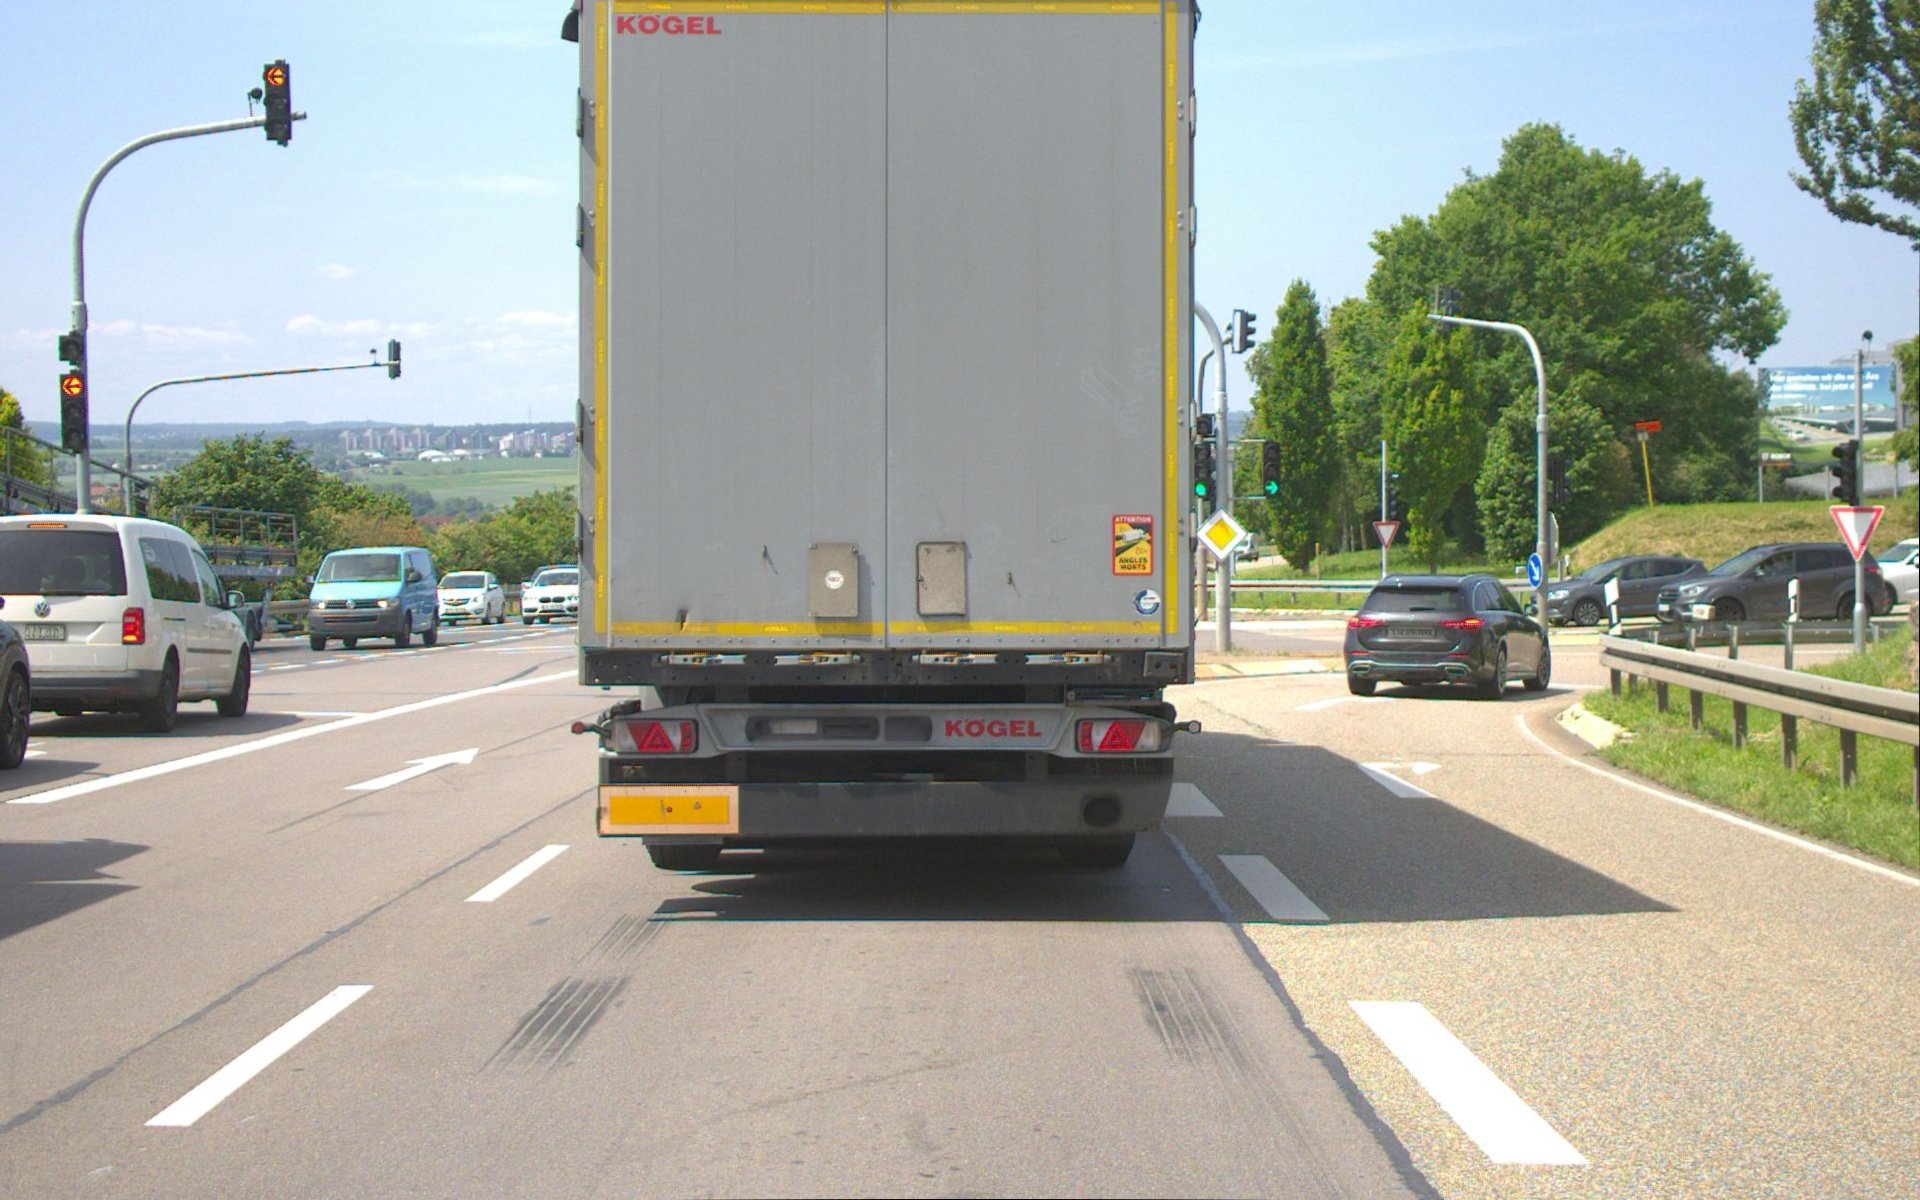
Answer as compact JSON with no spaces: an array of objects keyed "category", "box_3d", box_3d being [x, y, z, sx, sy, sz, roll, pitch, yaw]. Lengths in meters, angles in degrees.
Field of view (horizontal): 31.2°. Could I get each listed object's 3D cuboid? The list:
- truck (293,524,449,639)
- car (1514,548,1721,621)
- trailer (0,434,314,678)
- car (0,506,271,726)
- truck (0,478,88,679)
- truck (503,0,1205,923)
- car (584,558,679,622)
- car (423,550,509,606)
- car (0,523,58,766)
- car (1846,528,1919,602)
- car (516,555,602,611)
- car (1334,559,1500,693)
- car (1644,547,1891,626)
[{"category":"truck","box_3d":[-11.495,-0.348,67.395,1.966,2.150,4.623,-1,0,4]},{"category":"car","box_3d":[14.035,-0.332,73.438,3.986,1.505,1.716,0,0,-8]},{"category":"trailer","box_3d":[-15.367,-0.702,62.832,2.639,3.750,19.798,-1,0,2]},{"category":"car","box_3d":[-7.574,0.098,30.631,1.767,1.792,4.752,1,1,2]},{"category":"truck","box_3d":[-15.696,-0.317,53.113,2.799,3.003,5.989,-1,0,1]},{"category":"truck","box_3d":[-0.529,-0.717,19.609,2.799,3.916,11.342,1,1,-1]},{"category":"car","box_3d":[-8.082,-0.247,84.863,1.755,1.464,4.196,3,0,2]},{"category":"car","box_3d":[-13.750,-0.608,95.830,1.644,1.491,3.801,-2,0,2]},{"category":"car","box_3d":[-7.444,0.303,22.771,1.856,1.652,4.349,1,1,-1]},{"category":"car","box_3d":[21.828,-0.780,75.215,4.357,1.587,1.780,0,0,-8]},{"category":"car","box_3d":[-10.699,-0.444,91.934,1.772,1.429,4.000,-1,0,0]},{"category":"car","box_3d":[5.598,0.292,41.773,1.746,1.527,4.296,1,0,11]},{"category":"car","box_3d":[15.776,-0.265,67.231,4.357,1.505,1.717,0,0,-11]}]
